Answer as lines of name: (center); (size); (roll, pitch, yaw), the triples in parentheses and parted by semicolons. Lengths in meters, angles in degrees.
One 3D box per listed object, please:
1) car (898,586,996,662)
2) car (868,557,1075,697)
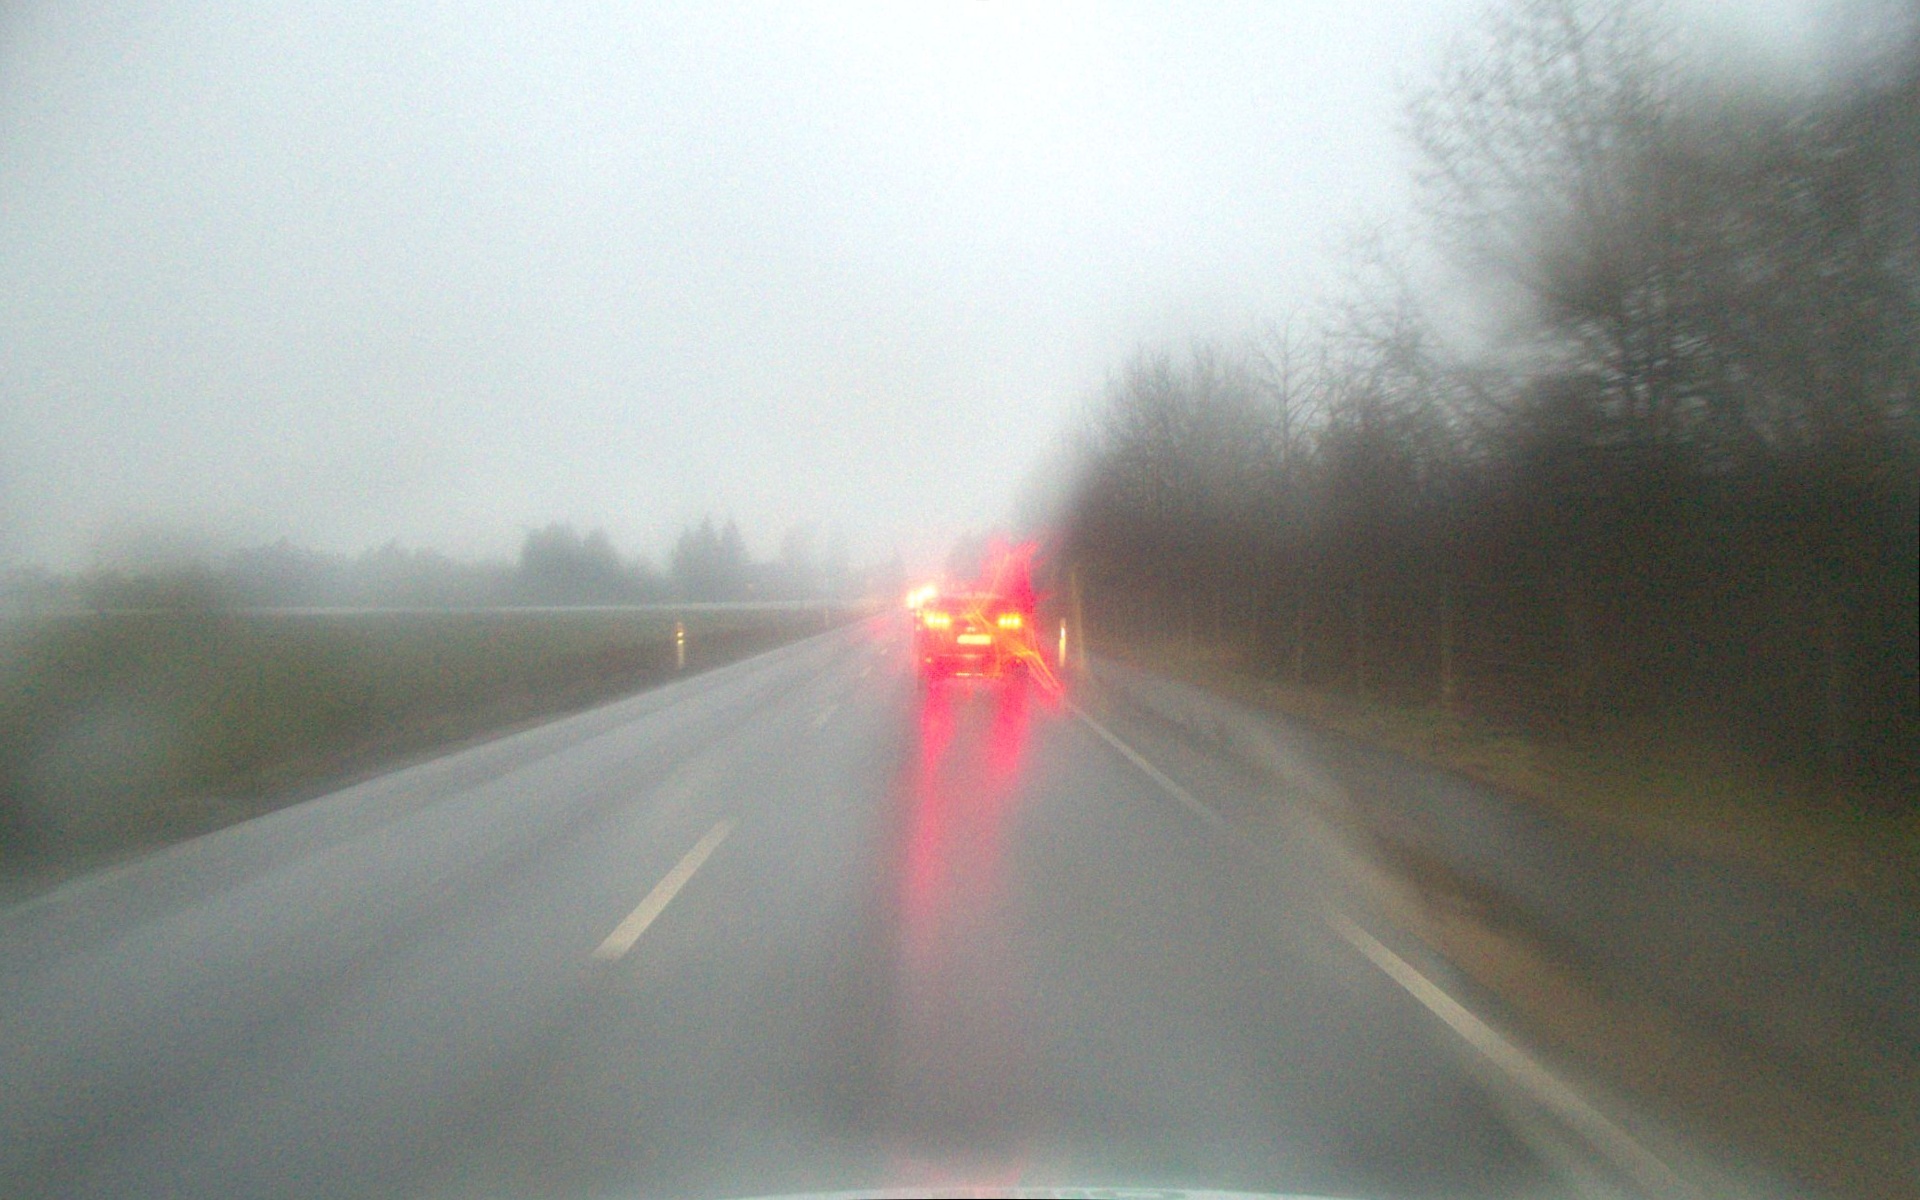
car: (-0.395, 0.645, 49.614); (2.700, 2.071, 6.590); (-1, 0, -1)
car: (0.142, 0.389, 28.493); (3.100, 2.071, 6.850); (-1, 0, -1)
